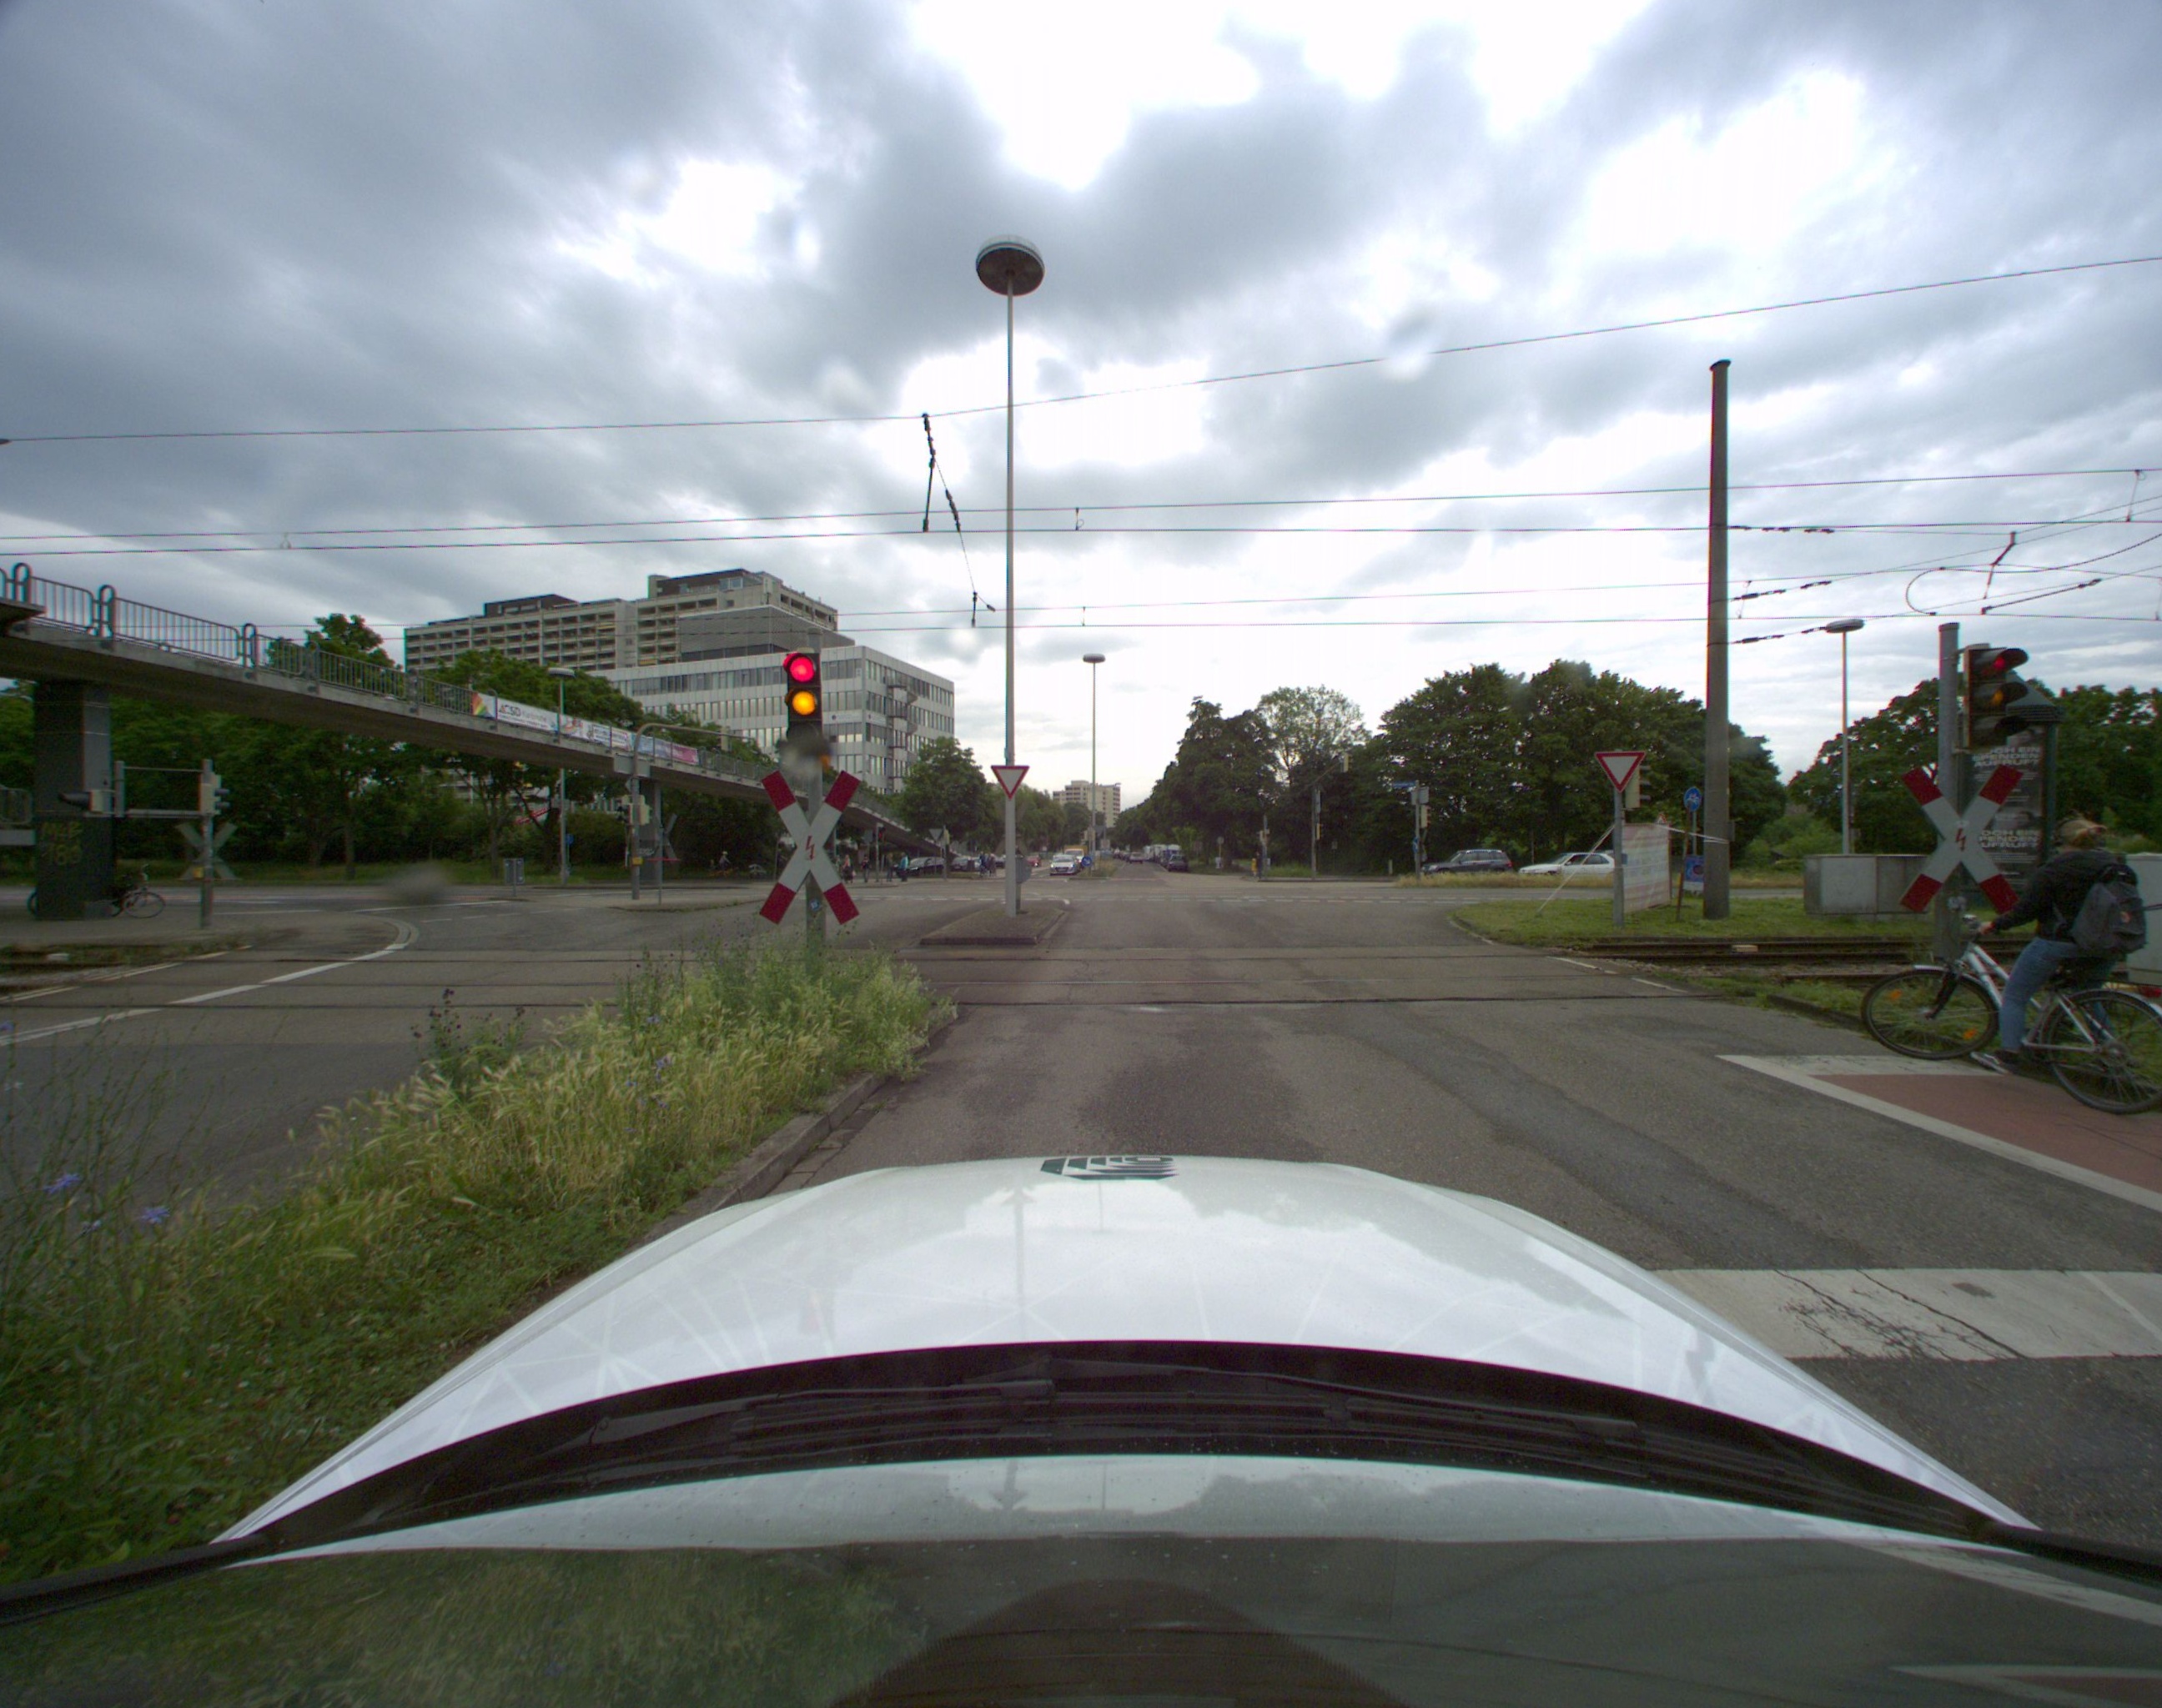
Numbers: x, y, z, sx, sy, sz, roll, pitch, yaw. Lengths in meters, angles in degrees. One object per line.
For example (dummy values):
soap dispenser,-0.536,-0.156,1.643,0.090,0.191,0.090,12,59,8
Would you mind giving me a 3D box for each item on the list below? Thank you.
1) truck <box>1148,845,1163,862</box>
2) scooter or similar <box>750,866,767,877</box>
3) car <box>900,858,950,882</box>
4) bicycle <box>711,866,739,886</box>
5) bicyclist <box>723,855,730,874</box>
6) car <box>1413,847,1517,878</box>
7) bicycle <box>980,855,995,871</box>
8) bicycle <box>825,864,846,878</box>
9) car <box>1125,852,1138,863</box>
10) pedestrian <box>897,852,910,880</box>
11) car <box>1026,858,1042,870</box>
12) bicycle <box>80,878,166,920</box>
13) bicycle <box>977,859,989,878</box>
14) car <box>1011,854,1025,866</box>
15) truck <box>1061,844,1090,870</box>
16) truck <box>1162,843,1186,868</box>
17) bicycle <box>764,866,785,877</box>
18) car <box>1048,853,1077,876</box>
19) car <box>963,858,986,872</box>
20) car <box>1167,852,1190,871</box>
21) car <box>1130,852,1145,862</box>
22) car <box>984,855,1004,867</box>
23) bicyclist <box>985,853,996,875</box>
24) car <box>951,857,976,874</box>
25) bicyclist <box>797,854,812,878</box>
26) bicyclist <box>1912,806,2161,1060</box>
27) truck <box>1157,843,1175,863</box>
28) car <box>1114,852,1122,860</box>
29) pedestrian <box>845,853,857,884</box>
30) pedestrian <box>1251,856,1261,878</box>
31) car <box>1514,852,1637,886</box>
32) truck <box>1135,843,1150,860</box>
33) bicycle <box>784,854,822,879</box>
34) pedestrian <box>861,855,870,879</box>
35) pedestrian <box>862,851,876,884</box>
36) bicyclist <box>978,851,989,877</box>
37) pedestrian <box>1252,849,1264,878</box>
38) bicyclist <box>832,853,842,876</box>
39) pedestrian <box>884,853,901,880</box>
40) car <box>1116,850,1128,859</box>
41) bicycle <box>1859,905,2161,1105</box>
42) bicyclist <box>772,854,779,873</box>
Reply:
truck,12.102,-0.063,132.073,1.987,2.573,5.377,0,-1,0
scooter or similar,-21.849,1.201,55.236,1.001,0.715,0.402,0,0,-34
car,-11.020,1.103,57.757,1.658,1.552,4.019,0,0,19
bicycle,-23.632,1.441,54.038,1.711,1.304,0.386,0,0,-23
bicyclist,-23.573,0.684,54.088,0.407,1.253,0.275,0,0,-23
car,19.523,0.419,41.508,4.447,1.504,1.847,0,0,2
bicycle,-6.626,0.641,57.985,0.724,1.101,2.265,0,0,2
bicycle,-17.329,1.184,57.521,0.628,0.925,2.524,0,0,2
car,8.197,0.526,131.909,1.986,1.764,4.001,0,-1,2
pedestrian,-10.061,0.663,46.182,0.685,1.605,0.487,0,0,-3
car,-5.910,1.245,101.789,1.505,1.390,3.537,0,-1,4
bicycle,-21.705,1.011,18.451,2.017,0.921,0.375,0,0,13
bicycle,-6.708,0.993,55.887,0.541,1.267,2.112,0,0,2
car,-8.325,0.789,108.355,1.439,1.552,3.666,0,0,2
truck,-0.462,0.251,72.248,2.146,2.199,5.846,0,0,4
truck,10.279,0.211,90.663,2.166,2.656,6.249,-1,-1,2
bicycle,-21.031,1.184,55.885,1.303,0.692,0.287,0,0,-34
car,-1.267,0.724,58.065,1.782,1.519,4.327,0,0,2
car,-10.858,1.106,83.575,1.665,1.387,3.898,0,0,3
car,8.798,0.624,73.886,1.777,1.662,4.002,0,0,2
car,8.239,0.442,118.728,2.013,1.505,4.002,0,0,2
car,-10.106,0.828,94.966,1.757,1.395,4.002,0,0,2
bicyclist,-6.494,0.744,58.728,0.676,1.594,0.695,0,-1,1
car,-11.204,1.046,78.084,1.665,1.552,3.894,0,0,3
bicyclist,-18.705,0.826,55.096,0.754,1.625,0.521,0,0,-42
bicyclist,6.083,0.459,5.153,0.619,1.424,0.961,4,0,1
truck,12.504,-0.171,119.982,1.988,2.838,5.727,0,0,-2
car,7.605,0.397,167.085,1.548,1.505,4.000,0,0,1
pedestrian,-12.654,0.792,44.857,0.619,1.691,0.403,0,0,-12
pedestrian,10.698,0.769,49.781,0.525,1.342,0.525,0,0,1
car,20.509,0.617,33.917,4.120,1.357,1.648,0,0,2
truck,10.797,-0.442,142.908,1.988,3.009,5.768,0,-1,-1
bicycle,-18.763,0.827,55.003,2.379,1.625,0.521,0,0,-42
pedestrian,-14.189,0.832,53.605,0.580,1.579,0.777,0,0,-16
pedestrian,-11.856,0.738,45.538,0.636,1.803,0.800,0,0,-7
bicyclist,-6.691,0.656,55.962,0.642,1.768,0.647,0,0,1
pedestrian,10.669,0.571,49.111,0.654,1.750,0.459,0,0,1
bicyclist,-17.247,0.732,57.546,0.563,1.644,0.532,0,-1,2
pedestrian,-10.723,0.720,46.364,0.917,1.511,0.402,0,0,-10
car,7.162,0.091,143.131,2.013,1.505,4.002,0,0,2
bicycle,6.071,0.874,5.166,0.381,0.980,2.030,0,-1,2
bicyclist,-20.970,0.651,55.936,0.385,1.303,0.275,0,0,-35
